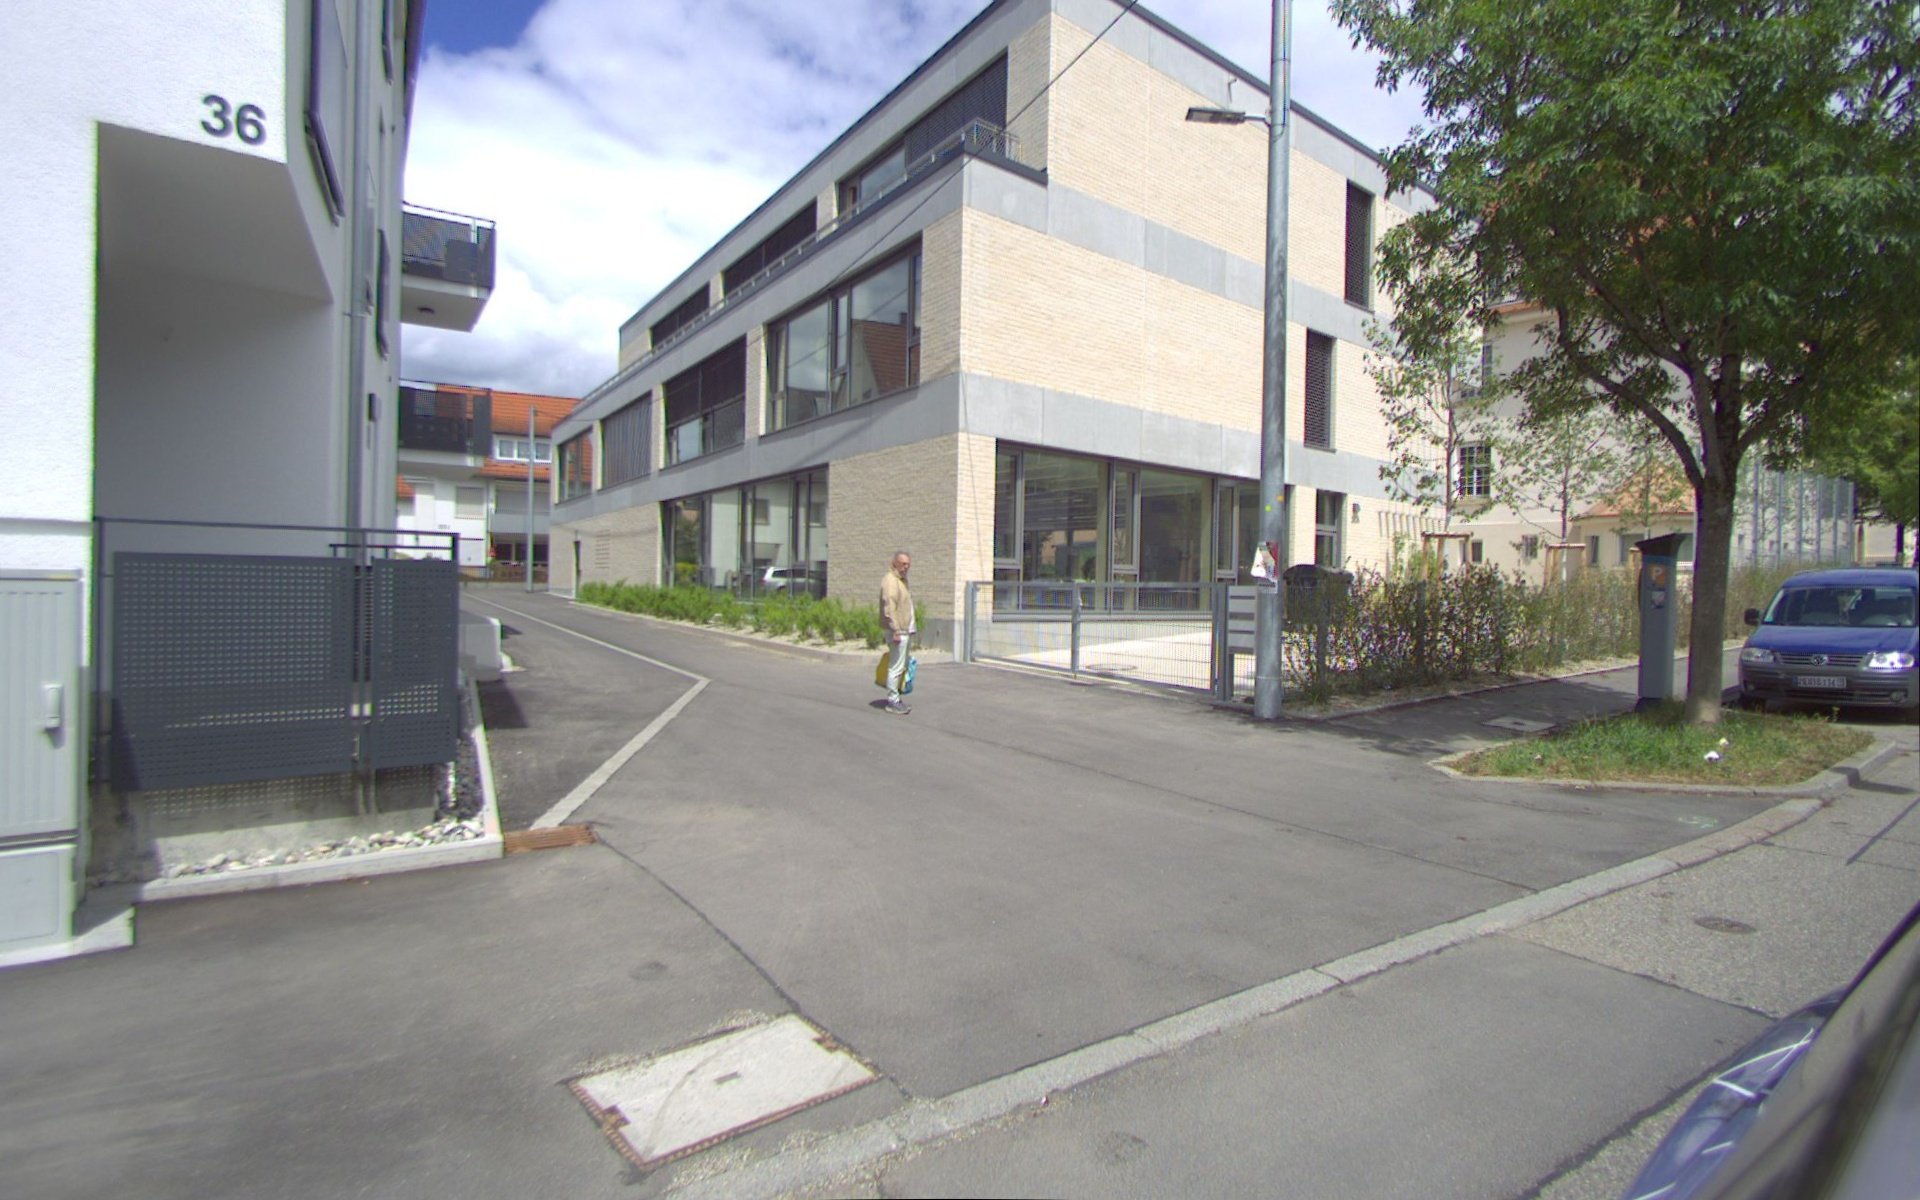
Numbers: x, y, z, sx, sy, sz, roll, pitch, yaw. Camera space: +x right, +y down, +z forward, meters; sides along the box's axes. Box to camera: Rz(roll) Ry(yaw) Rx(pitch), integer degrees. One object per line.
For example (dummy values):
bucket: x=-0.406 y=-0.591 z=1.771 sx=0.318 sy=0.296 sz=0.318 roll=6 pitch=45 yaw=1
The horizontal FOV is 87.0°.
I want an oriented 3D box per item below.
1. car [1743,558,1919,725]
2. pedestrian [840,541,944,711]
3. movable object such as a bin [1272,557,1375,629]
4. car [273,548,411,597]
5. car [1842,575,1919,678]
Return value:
car: x=11.446 y=0.378 z=12.755 sx=4.087 sy=1.764 sz=1.698 roll=-3 pitch=3 yaw=-40
pedestrian: x=-0.727 y=0.255 z=10.864 sx=0.815 sy=1.725 sz=0.774 roll=-1 pitch=0 yaw=-42
movable object such as a bin: x=7.774 y=-0.167 z=21.632 sx=1.774 sy=1.465 sz=1.351 roll=0 pitch=1 yaw=-39
car: x=-20.839 y=-0.911 z=34.272 sx=3.857 sy=1.524 sz=1.700 roll=1 pitch=1 yaw=-31
car: x=15.710 y=0.371 z=16.361 sx=3.605 sy=1.538 sz=1.676 roll=-1 pitch=1 yaw=-40
